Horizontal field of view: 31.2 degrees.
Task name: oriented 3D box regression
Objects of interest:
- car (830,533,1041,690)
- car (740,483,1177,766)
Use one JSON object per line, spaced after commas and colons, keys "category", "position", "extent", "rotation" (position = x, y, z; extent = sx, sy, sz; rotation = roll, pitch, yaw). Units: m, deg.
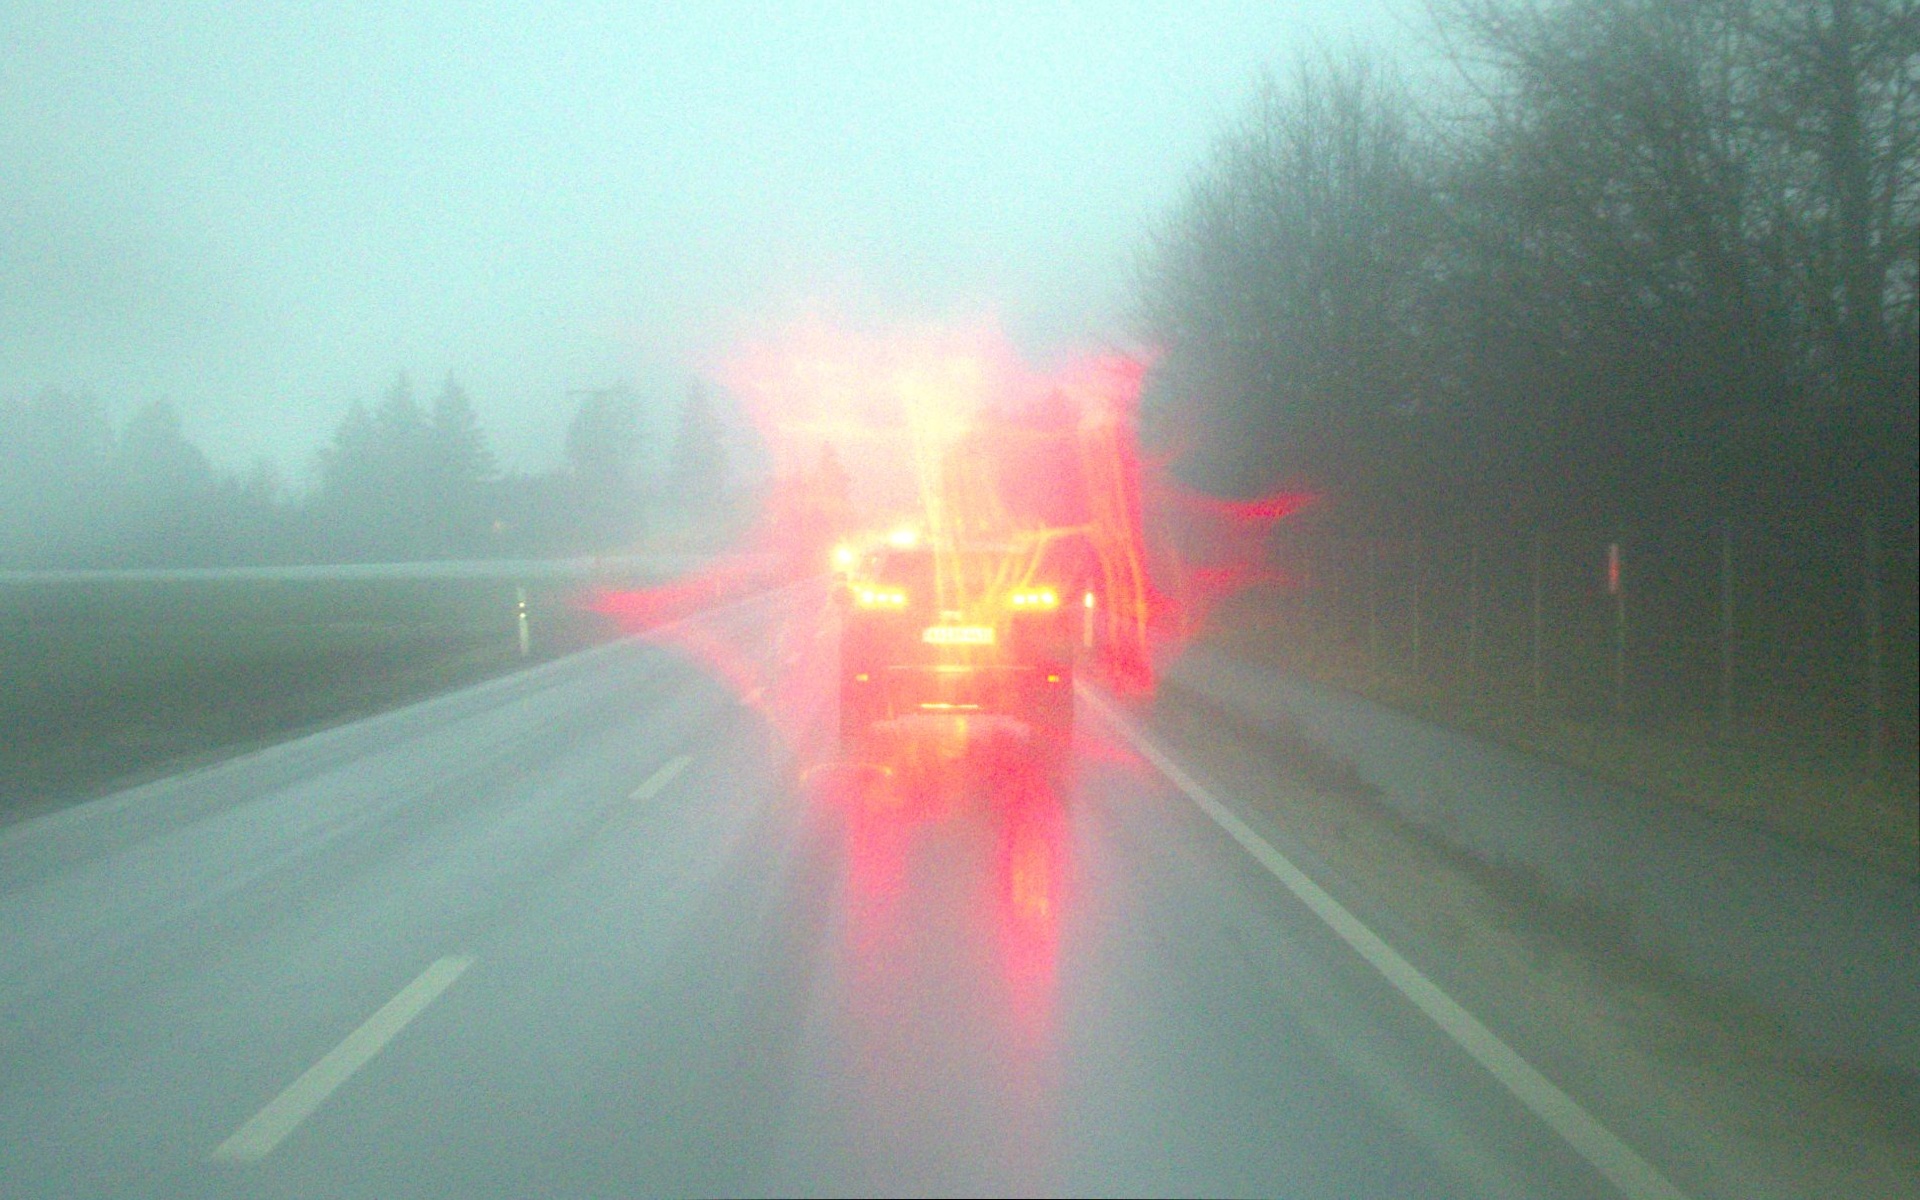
{"category": "car", "position": [-0.336, 0.091, 48.570], "extent": [2.756, 2.028, 6.591], "rotation": [-1, 1, 0]}
{"category": "car", "position": [-0.024, 0.104, 28.488], "extent": [3.164, 2.028, 6.852], "rotation": [-1, 1, 0]}
